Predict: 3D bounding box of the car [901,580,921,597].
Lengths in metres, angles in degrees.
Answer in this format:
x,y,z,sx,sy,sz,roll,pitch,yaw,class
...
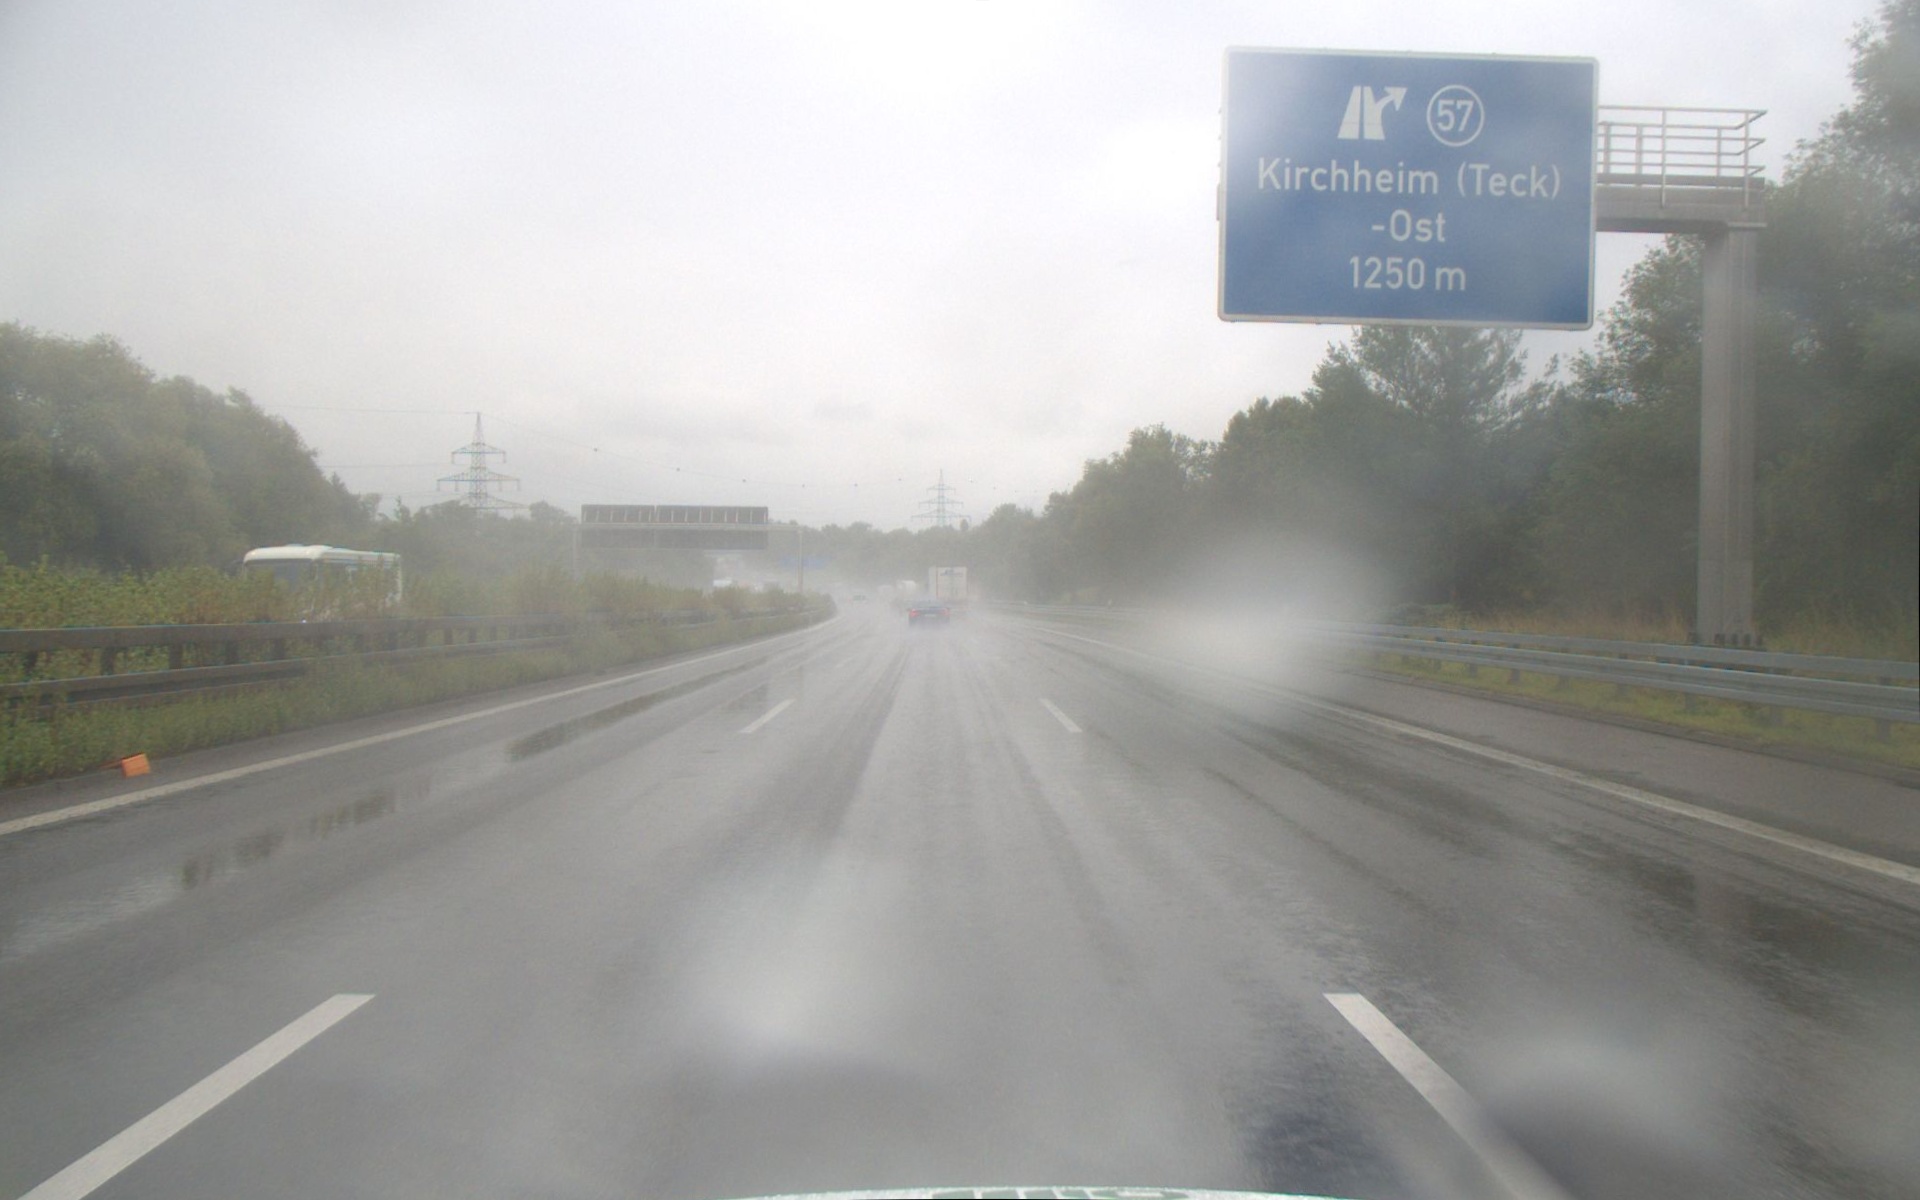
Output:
x,y,z,sx,sy,sz,roll,pitch,yaw,class
-6.889,-1.675,231.030,2.348,2.312,4.994,1,1,-7,car

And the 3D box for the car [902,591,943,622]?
x,y,z,sx,sy,sz,roll,pitch,yaw,class
-1.611,0.264,71.412,1.713,1.233,3.999,2,0,-1,car

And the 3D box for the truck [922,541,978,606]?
x,y,z,sx,sy,sz,roll,pitch,yaw,class
-0.977,-2.214,139.321,4.171,5.058,17.335,-2,1,-2,truck

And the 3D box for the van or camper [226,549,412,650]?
x,y,z,sx,sy,sz,roll,pitch,yaw,class
-21.491,-0.044,56.144,2.829,3.140,9.512,0,0,-1,van or camper
